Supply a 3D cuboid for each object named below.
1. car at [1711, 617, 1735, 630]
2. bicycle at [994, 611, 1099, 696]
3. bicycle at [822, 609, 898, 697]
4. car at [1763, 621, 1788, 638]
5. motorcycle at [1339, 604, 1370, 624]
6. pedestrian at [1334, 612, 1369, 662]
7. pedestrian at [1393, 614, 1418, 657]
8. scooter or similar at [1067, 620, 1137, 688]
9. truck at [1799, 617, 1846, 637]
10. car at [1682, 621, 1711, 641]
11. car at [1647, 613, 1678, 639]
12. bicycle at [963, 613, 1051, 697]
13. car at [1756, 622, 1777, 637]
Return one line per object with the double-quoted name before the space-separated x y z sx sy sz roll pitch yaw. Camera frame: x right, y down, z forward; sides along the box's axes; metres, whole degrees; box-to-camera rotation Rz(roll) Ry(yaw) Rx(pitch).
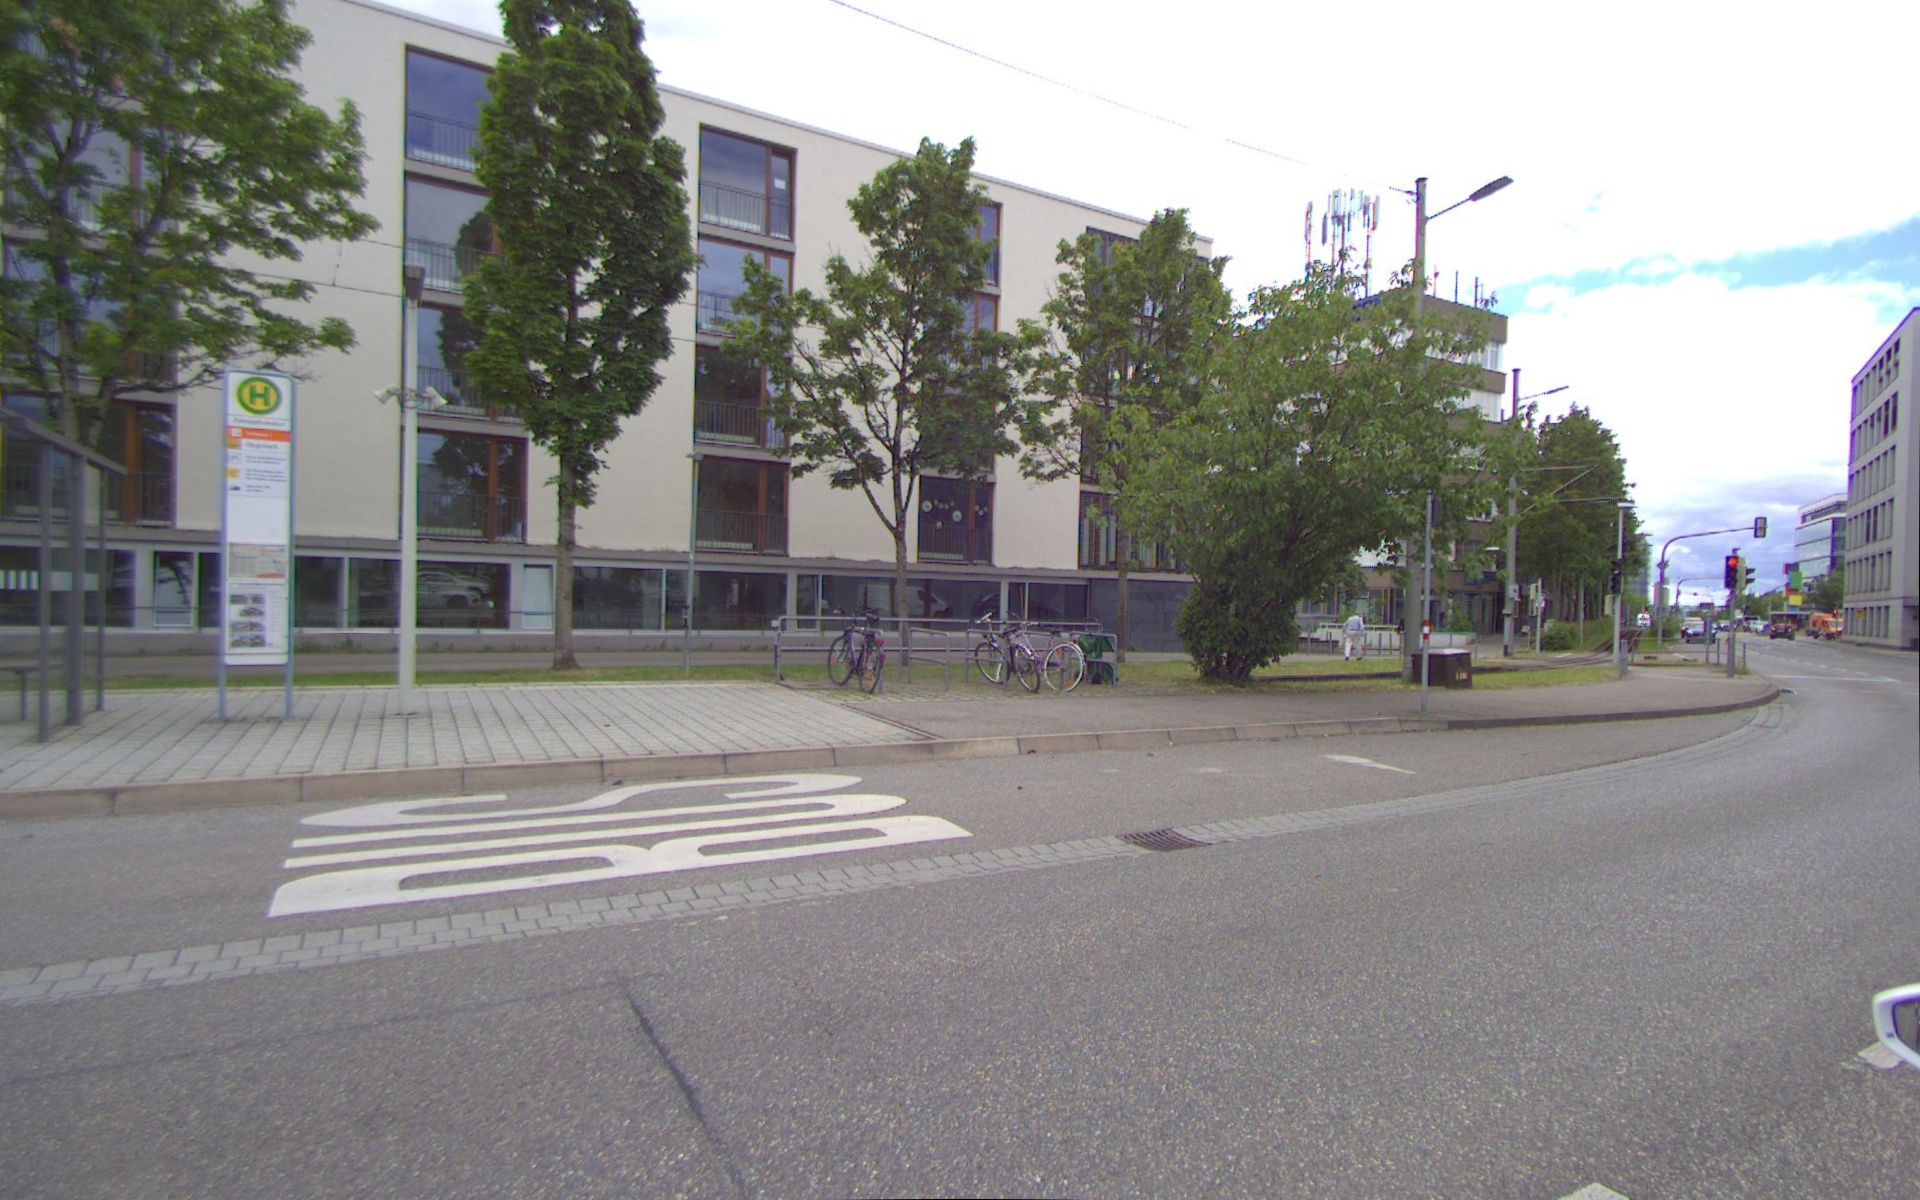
"car" 116.779 3.636 153.787 1.961 1.877 3.998 1 0 23
"bicycle" 1.252 0.760 14.869 0.405 1.103 1.689 1 2 -42
"bicycle" -1.370 0.683 13.538 0.391 1.039 1.680 1 2 -28
"car" 81.297 2.927 100.140 1.737 1.630 4.171 2 0 38
"motorcycle" 25.237 0.876 64.296 0.562 1.215 1.869 1 0 -31
"pedestrian" 12.410 1.170 31.838 0.836 1.547 0.993 0 -1 33
"pedestrian" 17.987 1.413 40.543 0.675 1.728 0.684 1 -1 -31
"scooter or similar" 2.240 0.835 15.869 0.767 1.023 0.781 1 0 -38
"truck" 94.202 2.953 109.790 1.961 2.040 6.401 1 0 22
"car" 55.397 2.336 75.532 1.746 1.498 3.985 -1 -2 37
"car" 51.899 1.927 74.207 1.660 1.832 4.334 -1 -2 38
"bicycle" 0.646 0.761 14.471 0.403 1.060 1.741 1 2 -28
"car" 92.016 3.312 114.575 1.737 1.630 4.171 2 0 38
